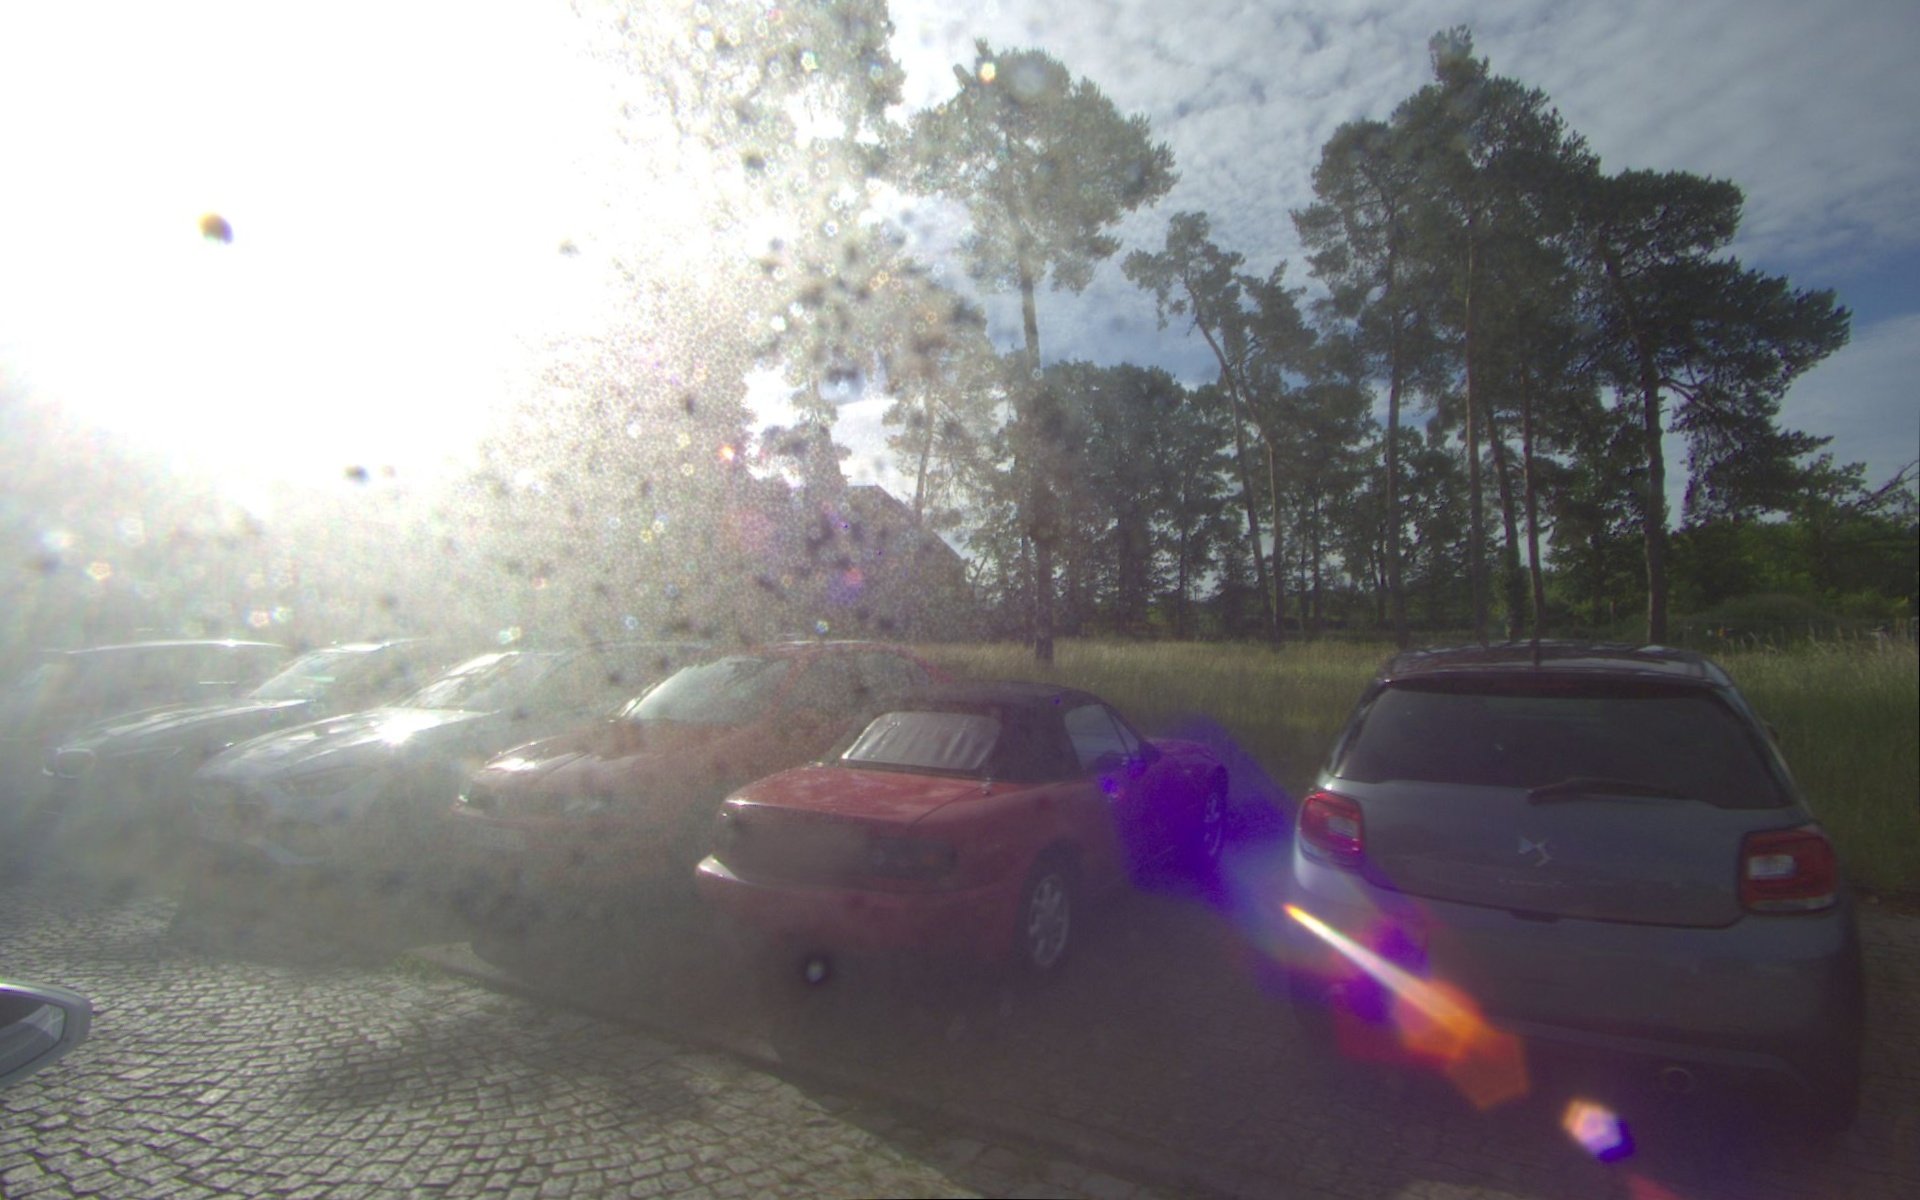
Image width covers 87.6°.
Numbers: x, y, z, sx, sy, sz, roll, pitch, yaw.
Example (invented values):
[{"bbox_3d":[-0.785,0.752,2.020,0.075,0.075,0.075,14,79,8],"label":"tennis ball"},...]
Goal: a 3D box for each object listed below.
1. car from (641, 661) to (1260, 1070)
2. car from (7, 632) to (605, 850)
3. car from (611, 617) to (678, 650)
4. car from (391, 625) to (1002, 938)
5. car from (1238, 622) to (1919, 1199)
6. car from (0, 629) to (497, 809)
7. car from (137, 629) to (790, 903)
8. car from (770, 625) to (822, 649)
[{"bbox_3d":[0.326,1.072,5.699,1.702,1.277,3.944,-2,-1,31],"label":"car"},{"bbox_3d":[-5.836,1.103,9.655,1.865,1.492,4.505,-2,-1,27],"label":"car"},{"bbox_3d":[-26.071,2.779,82.922,2.232,2.568,5.149,-2,-2,32],"label":"car"},{"bbox_3d":[-1.474,0.965,7.258,1.714,1.492,4.334,-2,-1,30],"label":"car"},{"bbox_3d":[2.717,0.892,4.636,1.746,1.514,3.944,-2,-1,31],"label":"car"},{"bbox_3d":[-7.864,1.132,11.305,1.904,1.524,4.539,-2,-1,29],"label":"car"},{"bbox_3d":[-3.556,1.031,8.134,1.822,1.492,4.500,-2,-1,30],"label":"car"},{"bbox_3d":[-12.275,2.754,75.065,1.828,1.701,3.929,-2,-2,29],"label":"car"}]
